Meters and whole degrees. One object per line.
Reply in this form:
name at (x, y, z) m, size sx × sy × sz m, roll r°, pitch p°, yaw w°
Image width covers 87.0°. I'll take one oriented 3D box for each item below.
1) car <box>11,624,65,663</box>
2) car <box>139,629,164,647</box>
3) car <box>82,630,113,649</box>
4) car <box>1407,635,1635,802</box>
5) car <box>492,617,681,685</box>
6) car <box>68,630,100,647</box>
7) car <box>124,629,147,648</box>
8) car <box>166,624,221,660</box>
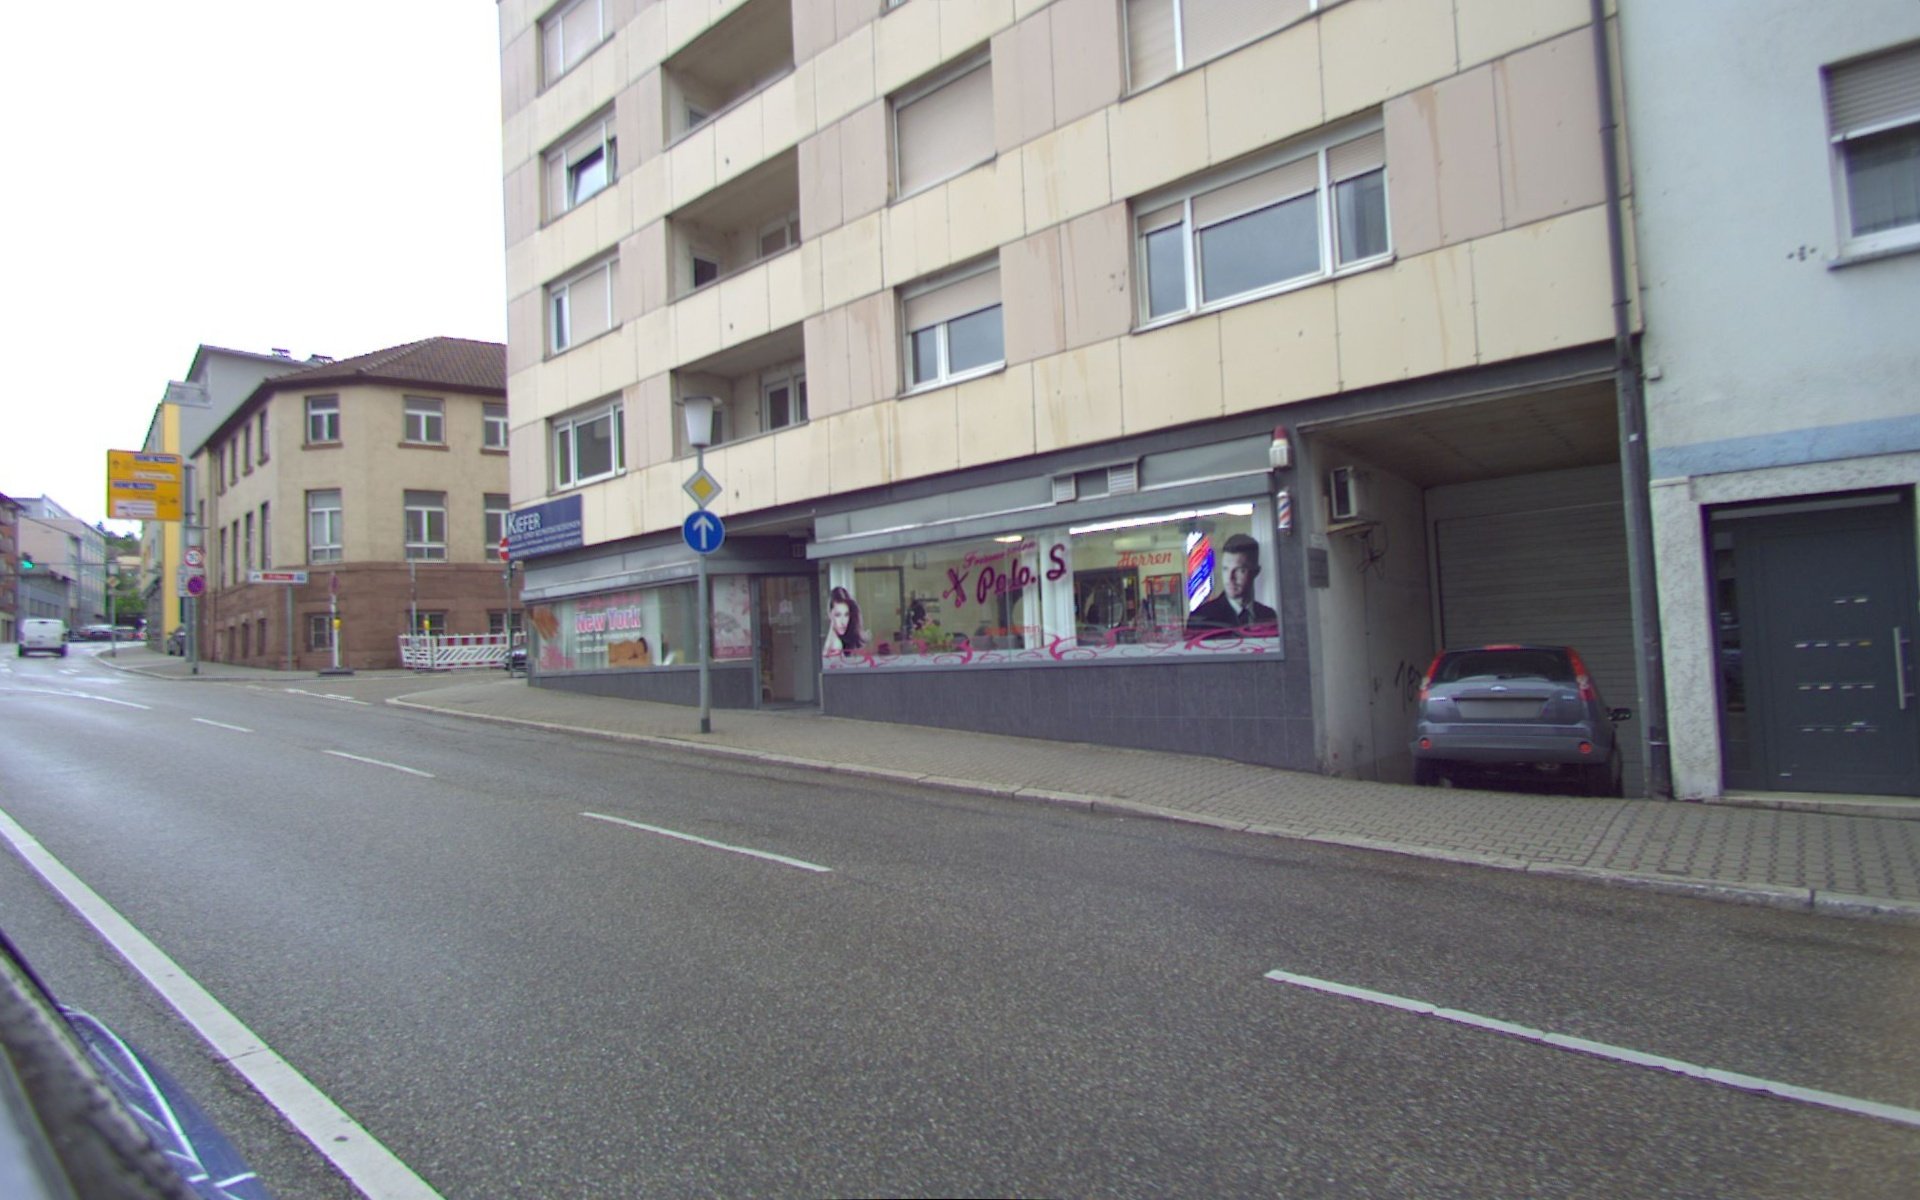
car at (-45.576, 2.113, 49.987) m, size 1.839 × 1.817 × 4.269 m, roll 2°, pitch -3°, yaw -43°
car at (-79.719, 3.717, 99.800) m, size 1.834 × 1.711 × 4.326 m, roll 2°, pitch -3°, yaw -39°
car at (-69.053, 3.177, 81.021) m, size 1.835 × 1.465 × 4.324 m, roll 1°, pitch -2°, yaw -41°
car at (5.869, 1.264, 10.387) m, size 1.674 × 1.361 × 3.954 m, roll -3°, pitch -9°, yaw 33°
car at (-9.760, 1.274, 26.593) m, size 4.296 × 1.515 × 1.757 m, roll -1°, pitch -1°, yaw -39°
car at (-75.118, 3.285, 86.822) m, size 1.833 × 1.465 × 4.327 m, roll 1°, pitch -2°, yaw -37°
car at (-86.384, 4.062, 106.080) m, size 1.820 × 1.918 × 3.772 m, roll 0°, pitch -1°, yaw -39°
car at (-35.931, 1.945, 47.408) m, size 1.834 × 1.465 × 3.969 m, roll -3°, pitch 1°, yaw -39°
